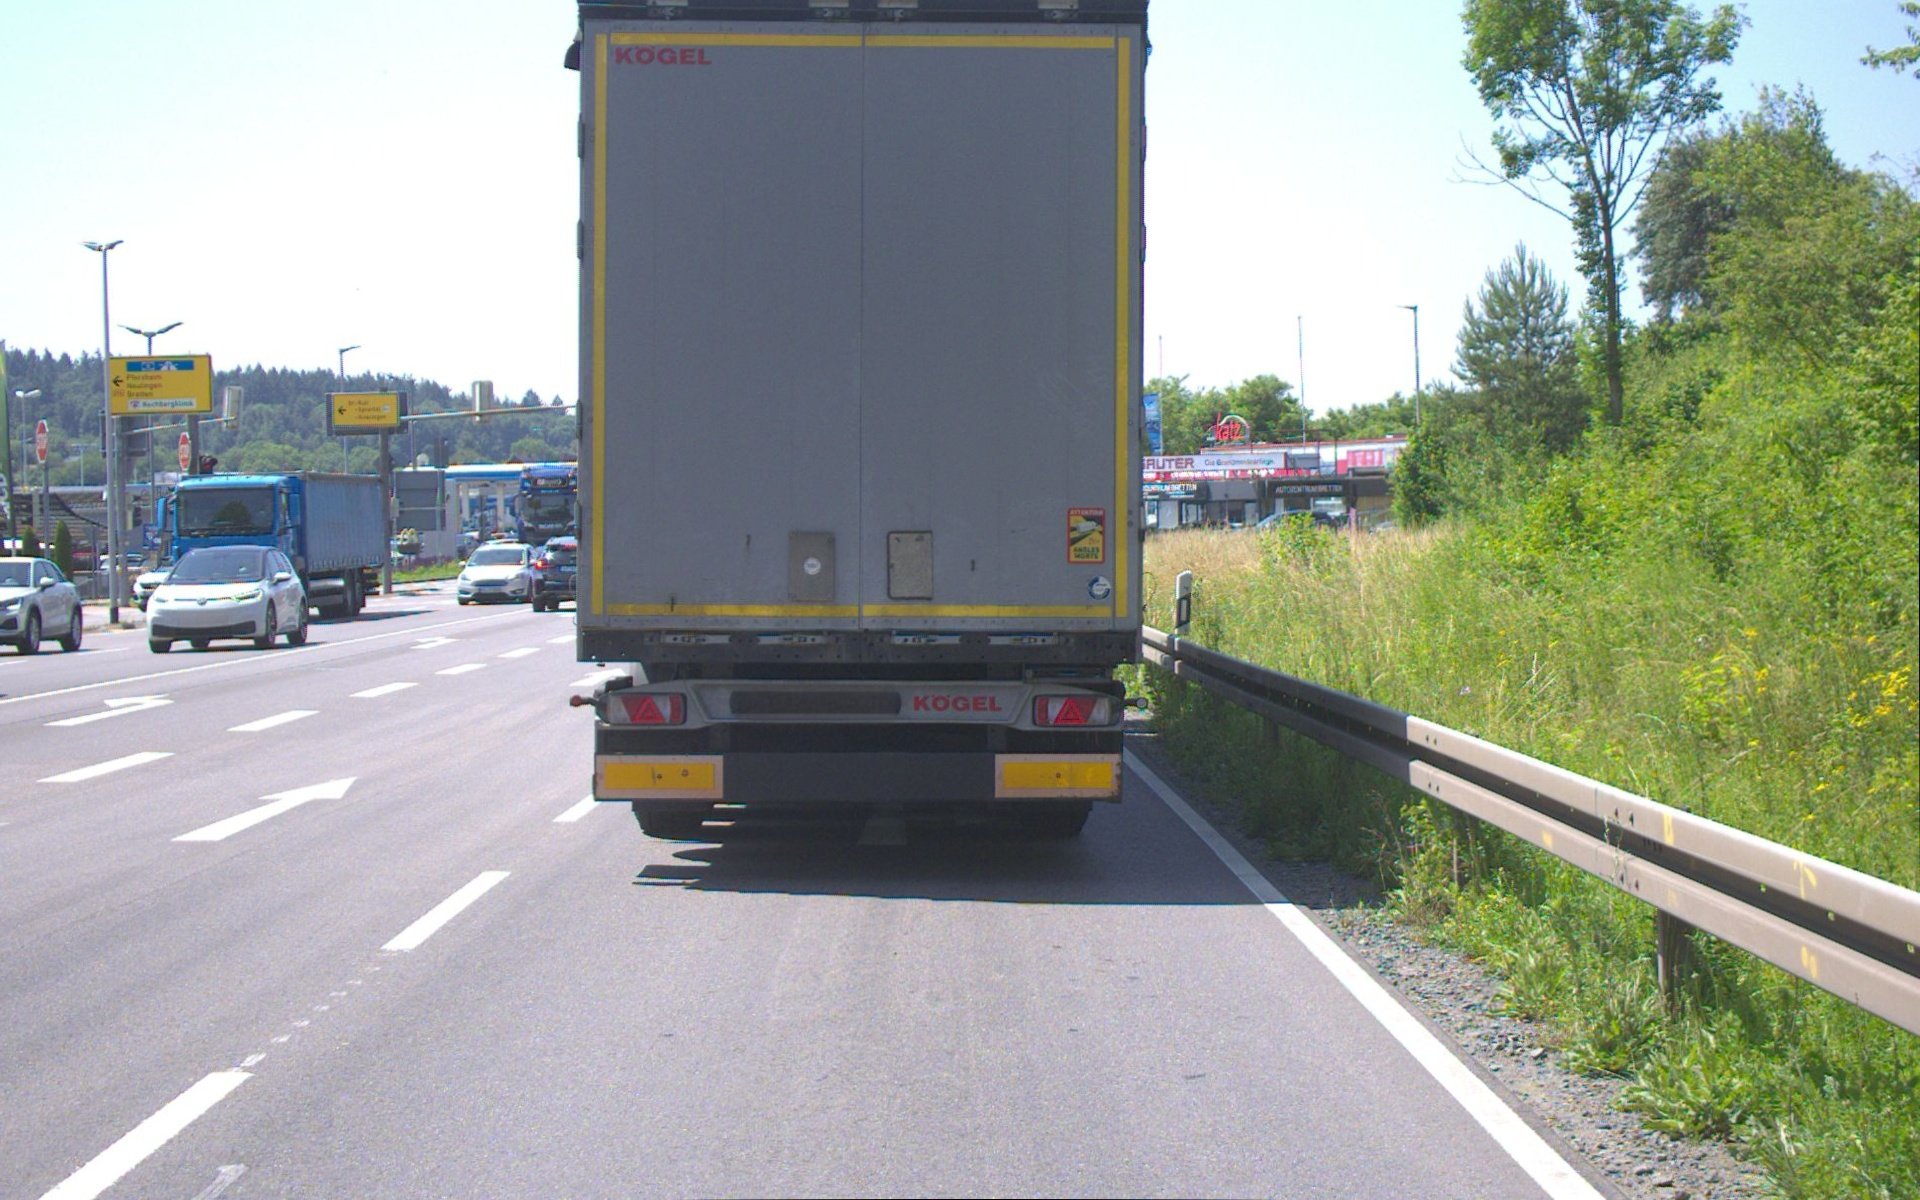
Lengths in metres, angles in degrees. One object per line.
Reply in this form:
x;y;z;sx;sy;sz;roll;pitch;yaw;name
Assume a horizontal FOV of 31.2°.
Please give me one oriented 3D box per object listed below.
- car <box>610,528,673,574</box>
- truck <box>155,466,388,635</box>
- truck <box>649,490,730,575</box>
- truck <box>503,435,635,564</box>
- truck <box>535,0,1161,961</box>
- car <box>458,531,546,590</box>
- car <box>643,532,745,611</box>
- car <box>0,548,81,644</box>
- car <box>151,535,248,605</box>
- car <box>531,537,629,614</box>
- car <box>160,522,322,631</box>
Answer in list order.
-11.096;-1.696;119.977;1.740;1.498;4.406;-2;0;0;car
-14.735;-1.069;74.592;2.846;3.340;11.482;-1;1;-1;truck
-13.124;-3.282;167.898;2.934;3.936;14.238;-1;1;-1;truck
-14.241;-3.654;126.651;3.146;4.334;17.544;-2;1;-1;truck
-0.672;-0.727;23.580;2.755;4.623;16.656;0;0;-1;truck
-11.455;-1.001;86.174;1.789;1.422;4.264;0;1;-2;car
-5.774;-0.643;74.975;1.804;1.664;4.292;0;1;1;car
-14.978;-0.082;53.028;1.761;1.423;4.180;-1;1;0;car
-22.439;-0.905;101.546;1.993;2.007;4.000;-1;1;-1;car
-8.325;-0.548;75.621;1.793;1.621;4.370;-1;1;-2;car
-10.887;-0.391;52.296;1.792;1.517;4.187;-2;2;-3;car
